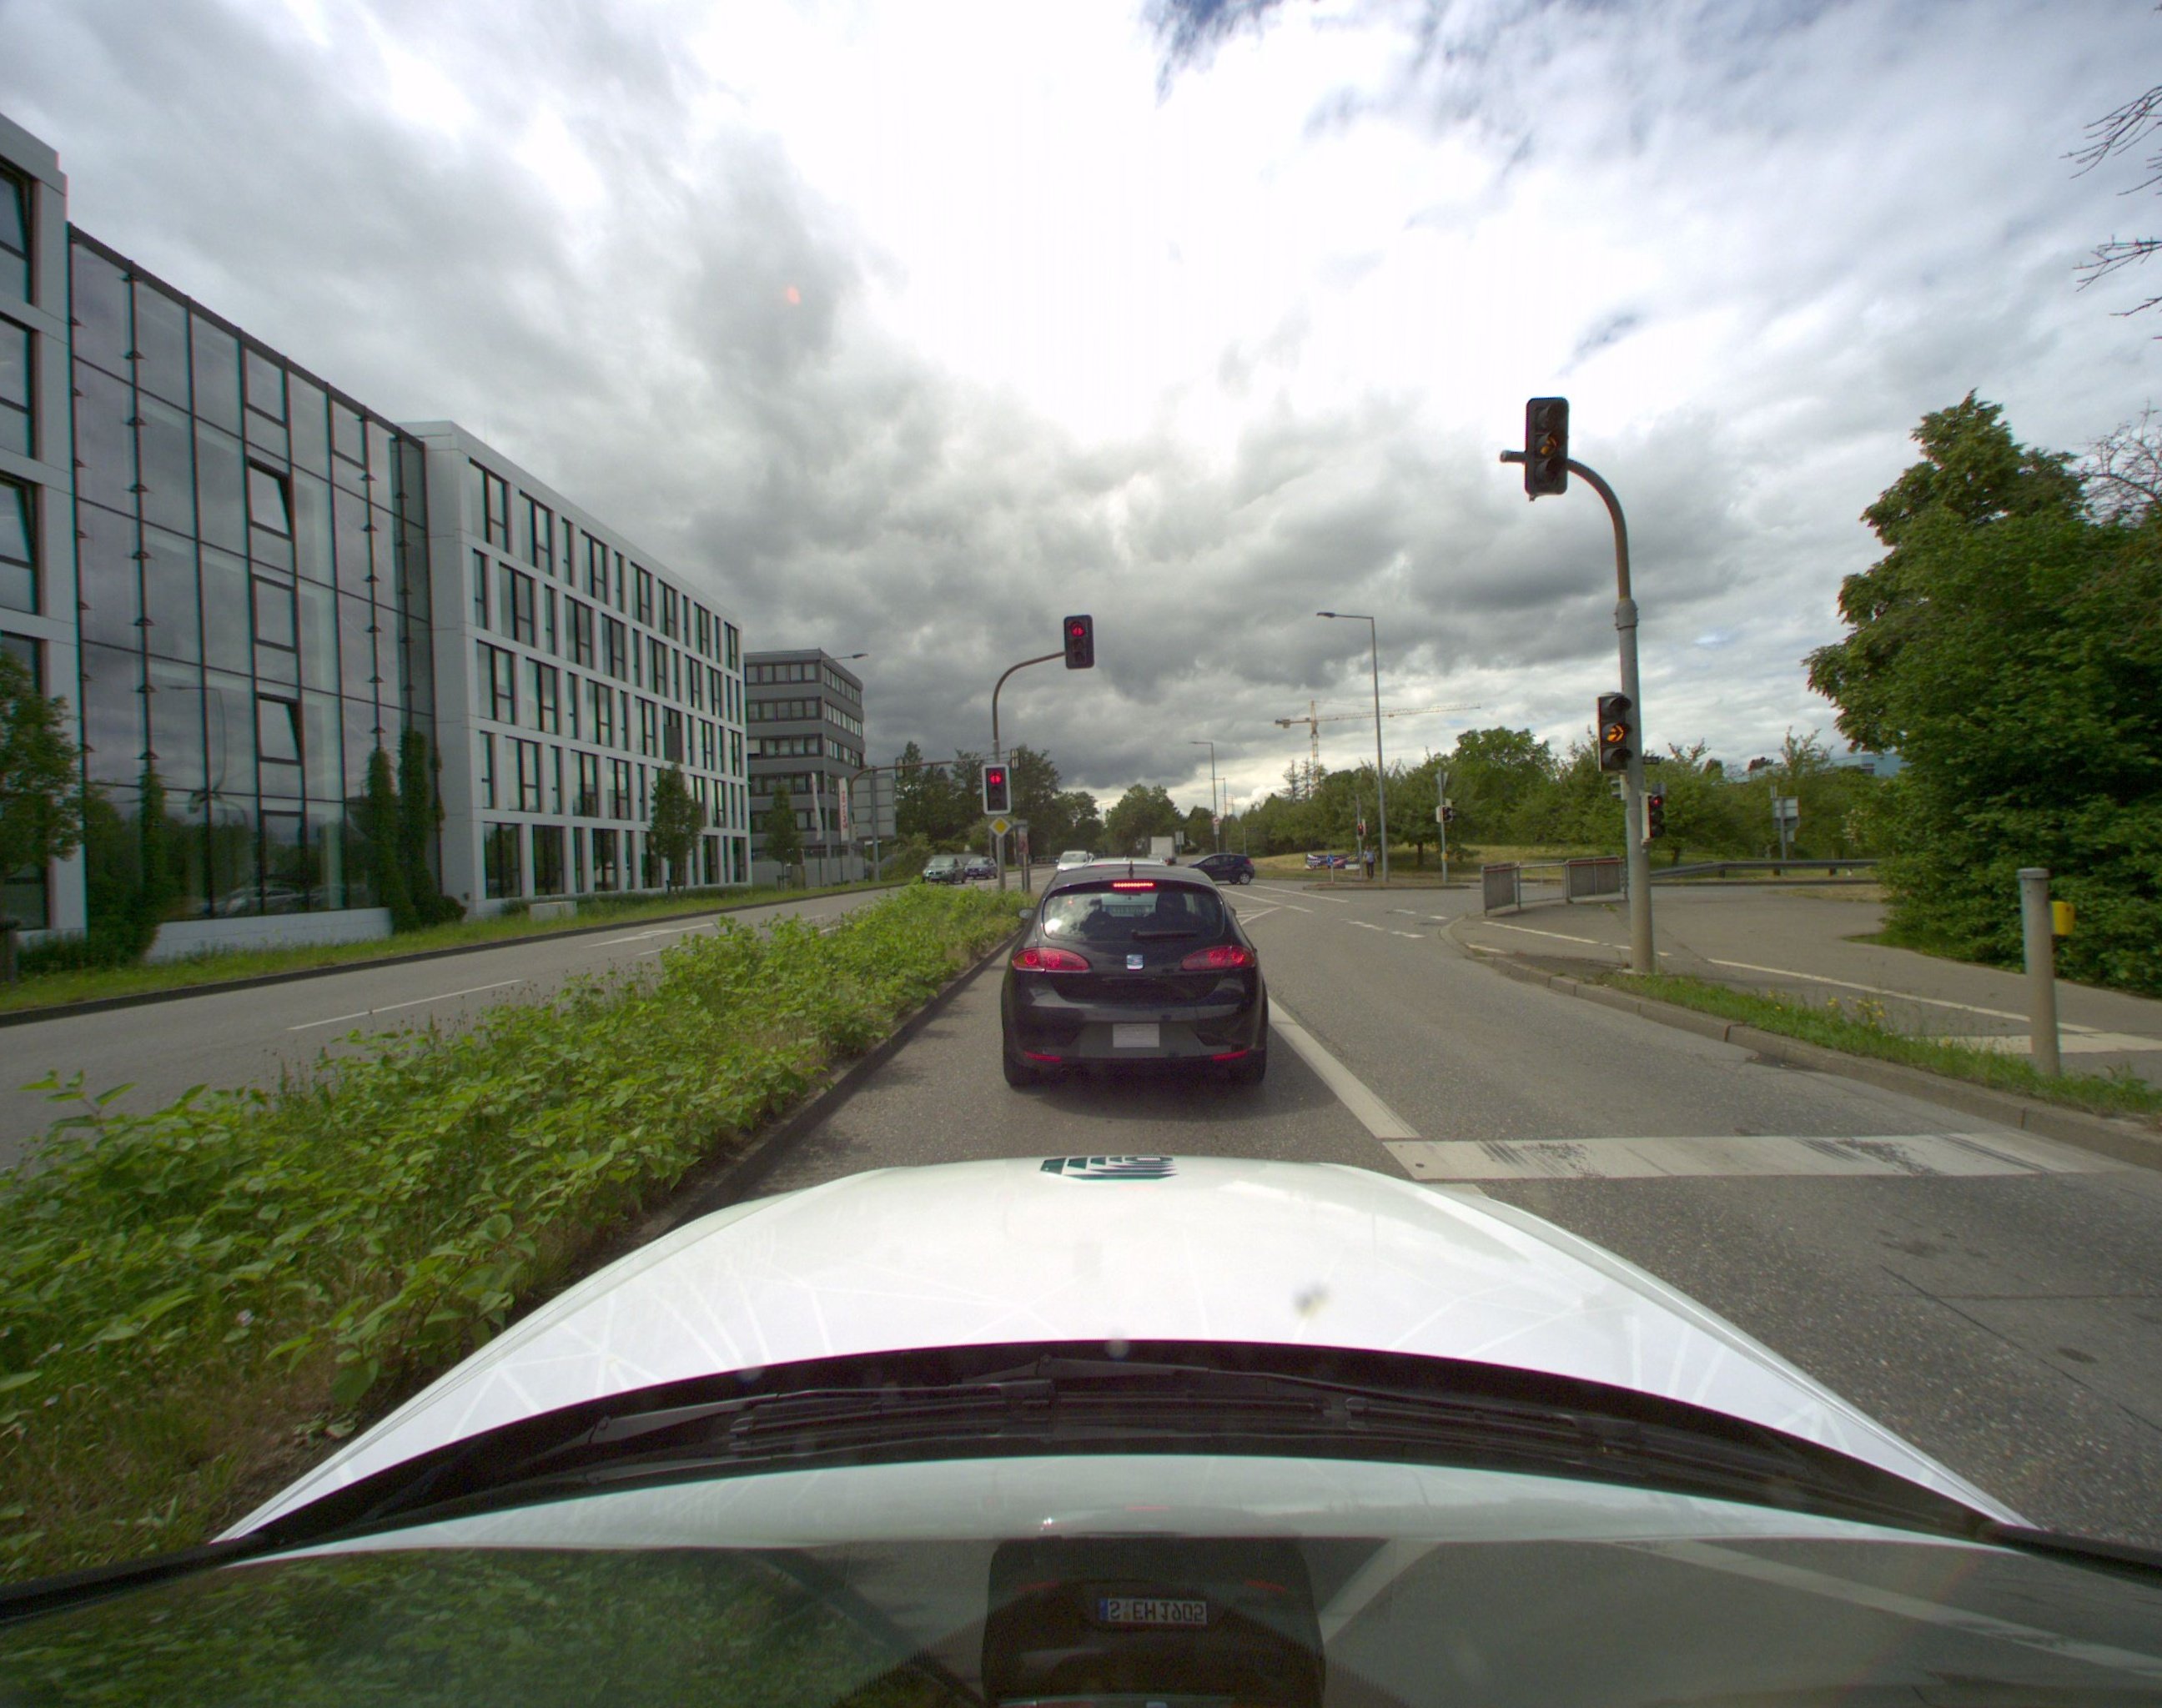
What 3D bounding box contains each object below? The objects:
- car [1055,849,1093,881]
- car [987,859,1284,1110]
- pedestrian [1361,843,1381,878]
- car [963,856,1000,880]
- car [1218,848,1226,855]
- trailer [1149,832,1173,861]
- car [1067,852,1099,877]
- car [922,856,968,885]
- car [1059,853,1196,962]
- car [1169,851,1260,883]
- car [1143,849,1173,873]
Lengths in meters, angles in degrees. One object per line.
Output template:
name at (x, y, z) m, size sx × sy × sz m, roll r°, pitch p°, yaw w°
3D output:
car at (-0.358, 0.593, 46.371) m, size 1.812 × 1.686 × 4.650 m, roll 0°, pitch 0°, yaw 4°
car at (0.376, 0.771, 6.466) m, size 1.704 × 1.417 × 3.461 m, roll -1°, pitch 0°, yaw 2°
pedestrian at (15.184, 0.356, 42.689) m, size 0.715 × 1.793 × 1.045 m, roll 0°, pitch -1°, yaw 4°
car at (-6.315, 0.891, 52.181) m, size 1.546 × 1.419 × 3.902 m, roll -1°, pitch 0°, yaw 5°
car at (32.185, -0.553, 186.457) m, size 1.656 × 1.596 × 4.013 m, roll -1°, pitch -1°, yaw 12°
trailer at (8.823, -0.824, 89.426) m, size 2.478 × 3.073 × 5.597 m, roll 0°, pitch -1°, yaw 6°
car at (0.190, 0.641, 52.440) m, size 1.652 × 1.518 × 4.091 m, roll -1°, pitch 0°, yaw 6°
car at (-7.254, 0.842, 43.729) m, size 1.598 × 1.432 × 3.757 m, roll -1°, pitch 0°, yaw 4°
car at (0.727, 0.737, 12.855) m, size 1.827 × 1.467 × 3.754 m, roll 0°, pitch 0°, yaw 3°
car at (6.253, 0.610, 38.305) m, size 3.877 × 1.446 × 1.755 m, roll 0°, pitch -1°, yaw -8°
car at (5.439, 0.455, 57.528) m, size 1.984 × 1.565 × 4.478 m, roll -1°, pitch 0°, yaw 5°
